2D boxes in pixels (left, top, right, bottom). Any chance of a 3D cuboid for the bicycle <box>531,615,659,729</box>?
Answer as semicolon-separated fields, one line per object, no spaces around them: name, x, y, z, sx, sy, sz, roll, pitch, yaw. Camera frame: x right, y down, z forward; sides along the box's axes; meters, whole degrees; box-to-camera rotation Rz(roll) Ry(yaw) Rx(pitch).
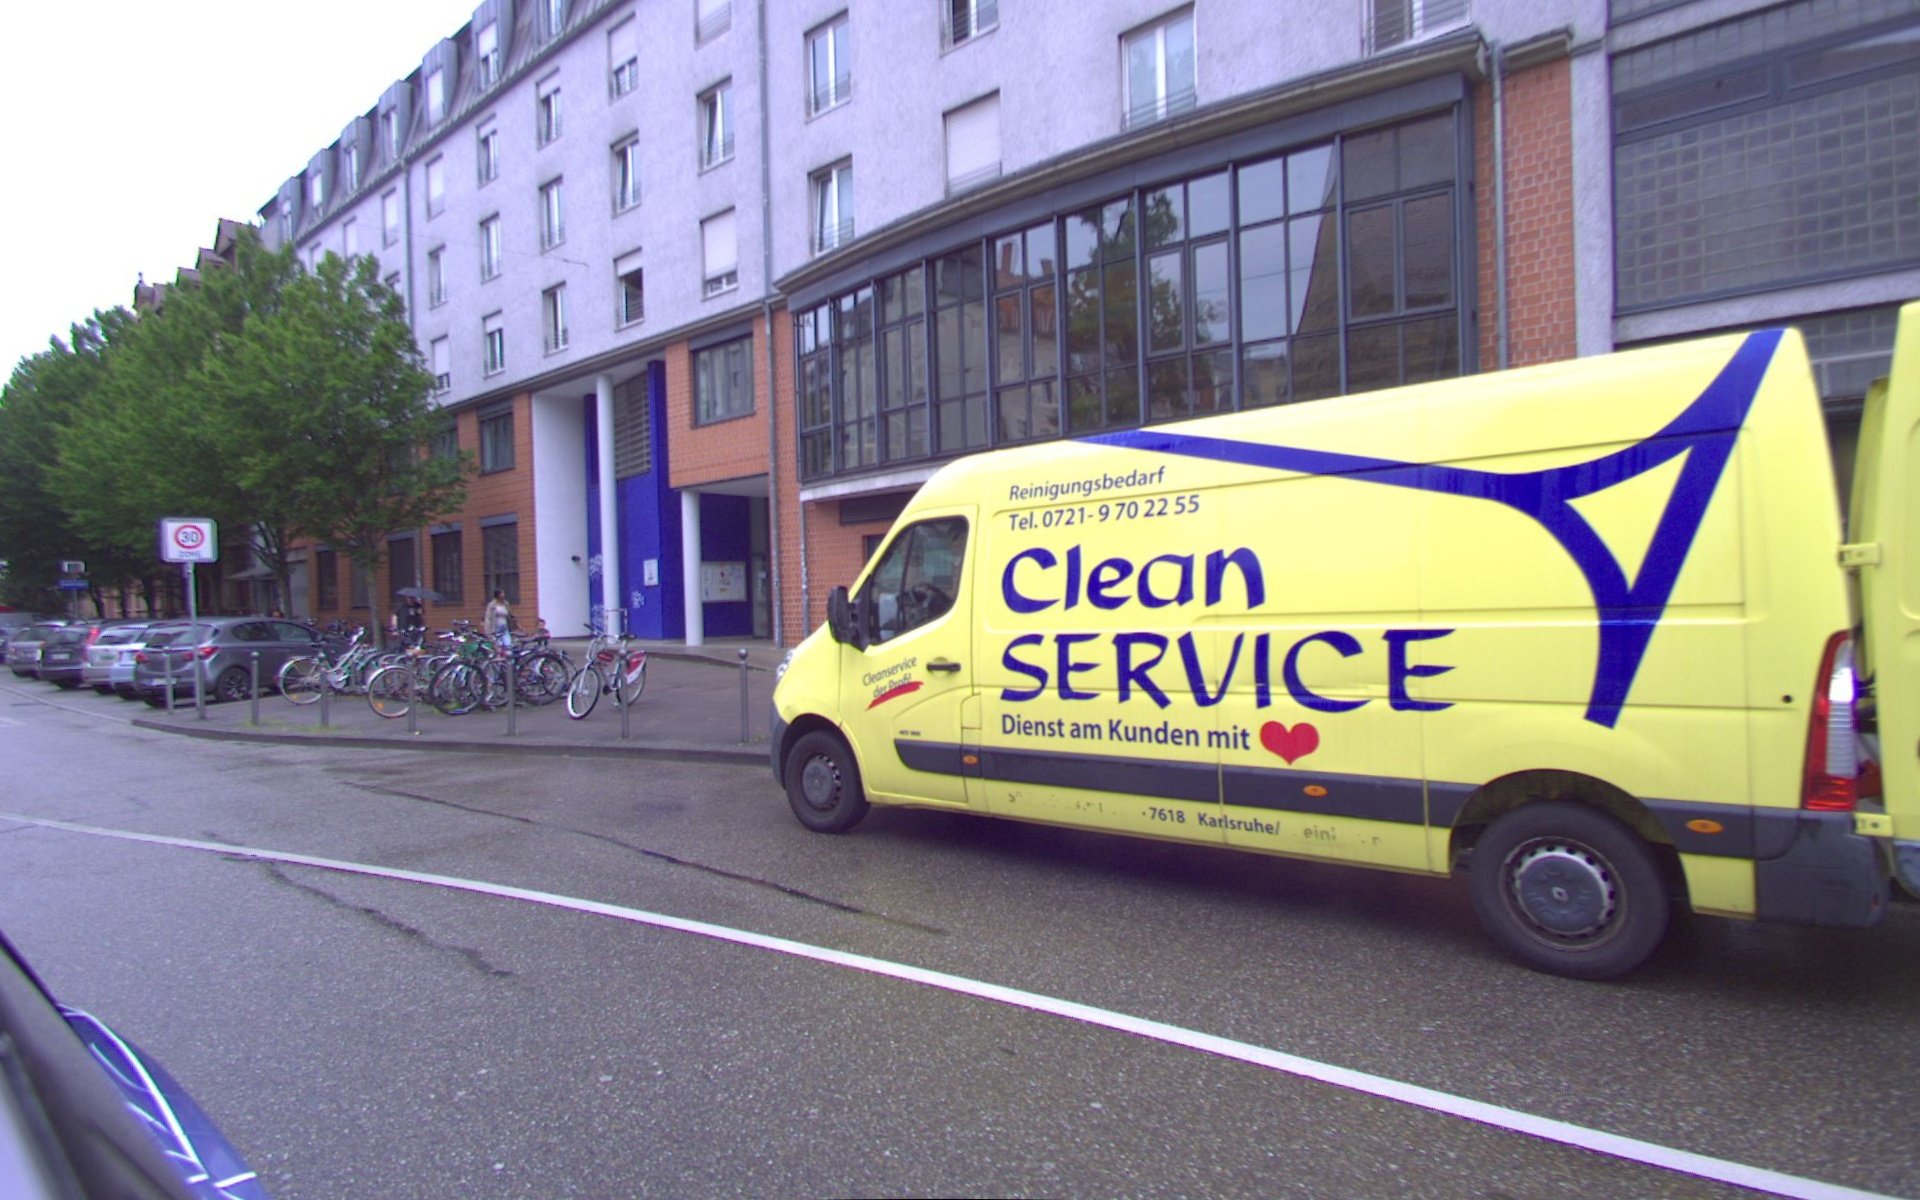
bicycle;-4.621;0.877;12.976;0.760;1.225;1.917;-1;3;6

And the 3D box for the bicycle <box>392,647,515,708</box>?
bicycle;-7.837;1.182;15.731;0.455;0.767;1.756;-2;1;28

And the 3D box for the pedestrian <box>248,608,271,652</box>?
pedestrian;-26.241;1.114;37.908;0.372;1.622;0.598;-2;-1;40

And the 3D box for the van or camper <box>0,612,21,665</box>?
van or camper;-49.285;1.930;49.518;1.985;2.632;4.576;-1;-1;14

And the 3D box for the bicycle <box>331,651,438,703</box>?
bicycle;-9.669;1.279;17.038;0.498;0.727;1.454;-1;1;44

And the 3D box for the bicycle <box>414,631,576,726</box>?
bicycle;-6.167;1.003;13.498;1.832;1.081;0.610;-3;1;-44

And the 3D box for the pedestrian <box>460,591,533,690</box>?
pedestrian;-8.588;0.746;18.763;0.859;1.719;0.817;-2;3;42

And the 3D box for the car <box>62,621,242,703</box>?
car;-17.490;1.292;22.077;1.432;1.514;3.078;-2;0;1

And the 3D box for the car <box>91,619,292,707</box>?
car;-15.416;1.221;20.491;1.436;1.514;3.069;-2;0;9

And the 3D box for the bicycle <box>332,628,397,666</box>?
bicycle;-16.972;1.327;28.872;0.444;0.992;1.573;-2;-1;33

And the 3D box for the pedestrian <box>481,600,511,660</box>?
pedestrian;-12.109;0.777;26.386;0.547;1.541;0.509;-2;-1;38

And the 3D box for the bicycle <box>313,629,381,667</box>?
bicycle;-16.968;1.321;28.045;0.444;0.992;1.573;-2;-1;33

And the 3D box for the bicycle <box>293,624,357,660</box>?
bicycle;-18.737;1.237;29.882;0.444;0.992;1.573;-2;-1;33

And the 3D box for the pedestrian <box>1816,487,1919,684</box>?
pedestrian;8.611;-0.127;9.428;0.785;1.741;0.997;-2;-1;32

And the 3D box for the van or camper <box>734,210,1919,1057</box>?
van or camper;1.424;0.178;5.873;5.937;2.631;2.174;-2;-1;40

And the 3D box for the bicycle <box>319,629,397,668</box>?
bicycle;-16.532;1.314;27.827;0.444;0.992;1.830;-2;-1;33

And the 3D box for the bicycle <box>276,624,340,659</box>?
bicycle;-19.683;1.254;30.568;0.464;0.992;1.573;-2;-1;33

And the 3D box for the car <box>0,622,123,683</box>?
car;-26.179;1.498;29.423;1.138;1.567;2.672;-2;0;12

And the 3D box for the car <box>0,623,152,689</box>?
car;-24.097;1.482;27.616;1.358;1.567;2.970;-2;0;12

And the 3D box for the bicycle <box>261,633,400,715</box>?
bicycle;-9.915;1.131;16.007;0.472;1.114;1.791;-2;1;36

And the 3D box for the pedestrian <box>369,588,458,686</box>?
pedestrian;-11.546;0.761;21.391;1.055;1.894;1.213;-2;3;41

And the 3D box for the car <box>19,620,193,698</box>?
car;-19.881;1.331;23.721;1.432;1.564;3.078;-2;0;1

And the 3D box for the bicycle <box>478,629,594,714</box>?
bicycle;-6.030;0.989;14.428;0.418;1.072;1.442;-1;1;45

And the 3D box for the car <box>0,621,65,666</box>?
car;-41.606;1.901;43.967;1.666;1.910;4.329;-1;-1;0

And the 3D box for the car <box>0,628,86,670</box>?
car;-36.459;1.896;39.585;1.663;1.502;3.798;-1;-1;-9

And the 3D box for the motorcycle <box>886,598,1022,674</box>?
motorcycle;-0.126;0.585;16.813;2.273;1.165;0.827;-2;0;43

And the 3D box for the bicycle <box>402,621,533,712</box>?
bicycle;-7.413;0.970;15.328;0.518;1.203;1.797;-2;1;28

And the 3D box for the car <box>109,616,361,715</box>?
car;-13.147;1.131;18.644;1.721;1.514;3.613;-1;1;9

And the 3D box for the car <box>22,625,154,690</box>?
car;-22.252;1.426;25.917;1.177;1.461;2.501;-2;0;1

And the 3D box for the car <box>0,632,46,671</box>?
car;-38.945;2.083;40.549;1.663;1.502;3.798;-1;-1;-9

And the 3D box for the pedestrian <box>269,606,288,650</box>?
pedestrian;-25.804;1.053;38.317;0.425;1.622;0.508;-2;-1;42

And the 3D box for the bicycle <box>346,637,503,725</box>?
bicycle;-7.167;1.050;13.620;0.519;1.000;1.778;-1;1;39

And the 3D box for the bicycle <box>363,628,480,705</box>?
bicycle;-8.812;1.069;16.608;0.519;1.114;1.591;-2;1;36

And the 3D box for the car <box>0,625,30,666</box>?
car;-44.741;2.100;45.688;1.554;1.846;4.329;-1;-1;0

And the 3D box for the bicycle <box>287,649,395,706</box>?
bicycle;-10.443;1.291;17.101;0.498;0.811;1.454;-1;1;44

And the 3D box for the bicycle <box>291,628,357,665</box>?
bicycle;-18.406;1.344;29.310;0.444;0.992;1.573;-2;-1;33

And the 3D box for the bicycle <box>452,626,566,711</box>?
bicycle;-6.630;0.985;14.917;1.439;1.111;0.462;-3;1;-35

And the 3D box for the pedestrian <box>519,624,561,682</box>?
pedestrian;-8.115;1.025;19.546;0.527;1.058;0.479;-2;3;40

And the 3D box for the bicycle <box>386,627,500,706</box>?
bicycle;-8.268;1.033;16.243;0.518;1.114;1.596;-2;1;28
